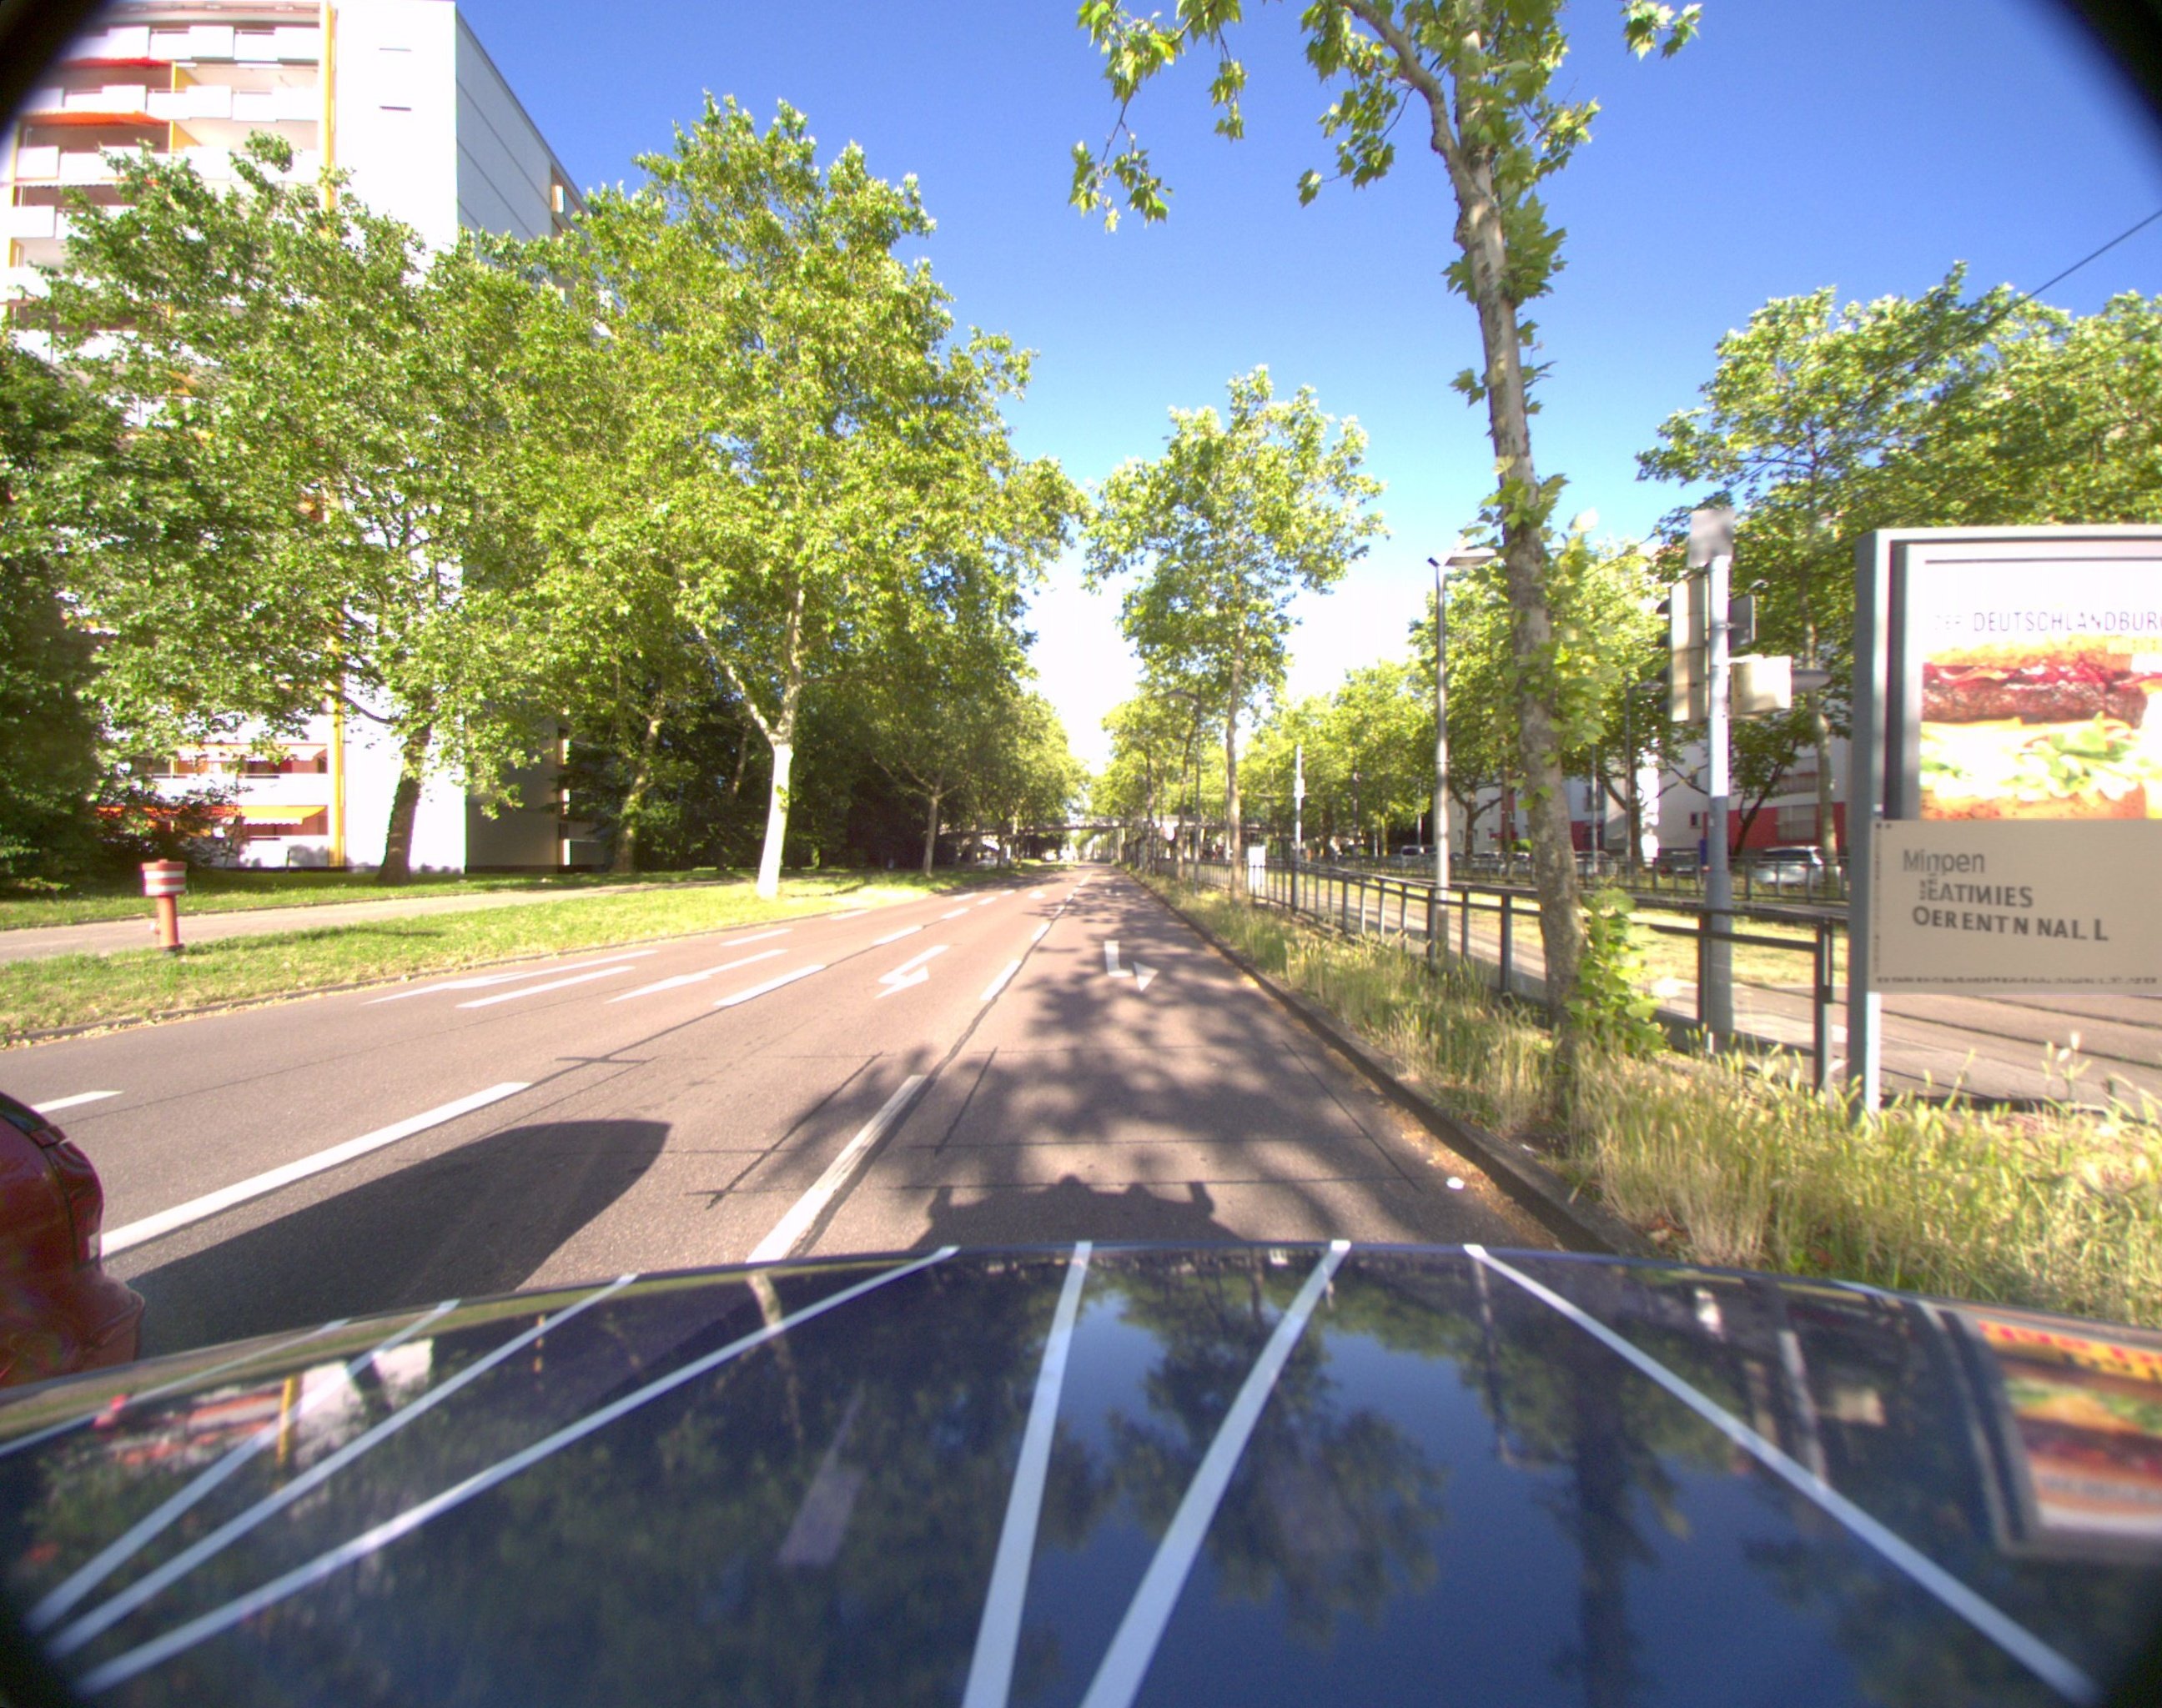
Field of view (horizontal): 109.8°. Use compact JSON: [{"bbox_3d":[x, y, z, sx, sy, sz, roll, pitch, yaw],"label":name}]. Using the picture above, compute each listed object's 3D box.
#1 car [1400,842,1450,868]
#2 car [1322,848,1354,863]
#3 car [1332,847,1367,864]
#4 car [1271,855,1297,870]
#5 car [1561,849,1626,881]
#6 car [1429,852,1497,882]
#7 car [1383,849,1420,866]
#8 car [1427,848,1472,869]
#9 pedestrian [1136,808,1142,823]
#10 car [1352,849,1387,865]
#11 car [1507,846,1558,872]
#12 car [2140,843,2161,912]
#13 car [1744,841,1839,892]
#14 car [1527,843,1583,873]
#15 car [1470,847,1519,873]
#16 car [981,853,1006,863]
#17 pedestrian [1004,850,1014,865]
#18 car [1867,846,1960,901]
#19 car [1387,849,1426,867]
[{"bbox_3d":[25.792,0.063,56.951,4.056,1.802,1.864,-1,1,-40],"label":"car"},{"bbox_3d":[26.880,0.119,79.401,3.742,1.517,1.597,-1,1,-43],"label":"car"},{"bbox_3d":[25.997,0.126,73.405,3.835,1.561,1.597,-1,1,-43],"label":"car"},{"bbox_3d":[22.019,0.932,82.607,1.769,1.503,4.102,-1,0,1],"label":"car"},{"bbox_3d":[25.517,0.522,37.772,3.890,1.406,1.486,-3,1,-37],"label":"car"},{"bbox_3d":[20.569,0.675,41.120,1.810,1.514,4.331,-1,0,5],"label":"car"},{"bbox_3d":[27.013,0.287,64.072,3.494,1.293,1.476,-1,1,-41],"label":"car"},{"bbox_3d":[26.151,0.299,53.884,3.494,1.395,1.623,-1,1,-41],"label":"car"},{"bbox_3d":[7.798,-5.133,101.688,0.738,1.873,0.511,-3,1,0],"label":"pedestrian"},{"bbox_3d":[26.374,0.267,69.498,3.494,1.312,1.476,-1,1,-41],"label":"car"},{"bbox_3d":[26.441,0.300,44.455,3.493,1.321,1.476,-3,0,-41],"label":"car"},{"bbox_3d":[24.616,0.537,16.273,4.007,1.479,1.689,-3,1,-44],"label":"car"},{"bbox_3d":[25.222,0.407,26.933,4.007,1.586,1.810,-3,1,-37],"label":"car"},{"bbox_3d":[25.808,0.209,41.357,3.402,1.499,1.461,-3,1,-37],"label":"car"},{"bbox_3d":[25.870,0.351,47.500,3.493,1.417,1.558,-3,-1,-42],"label":"car"},{"bbox_3d":[-14.003,0.630,121.510,3.999,1.465,1.797,-3,1,-8],"label":"car"},{"bbox_3d":[-10.439,0.514,109.853,0.917,2.002,0.964,-2,1,37],"label":"pedestrian"},{"bbox_3d":[25.237,0.544,23.004,3.770,1.420,1.555,-3,1,-37],"label":"car"},{"bbox_3d":[25.843,0.296,60.329,3.494,1.336,1.476,-1,1,-41],"label":"car"}]
